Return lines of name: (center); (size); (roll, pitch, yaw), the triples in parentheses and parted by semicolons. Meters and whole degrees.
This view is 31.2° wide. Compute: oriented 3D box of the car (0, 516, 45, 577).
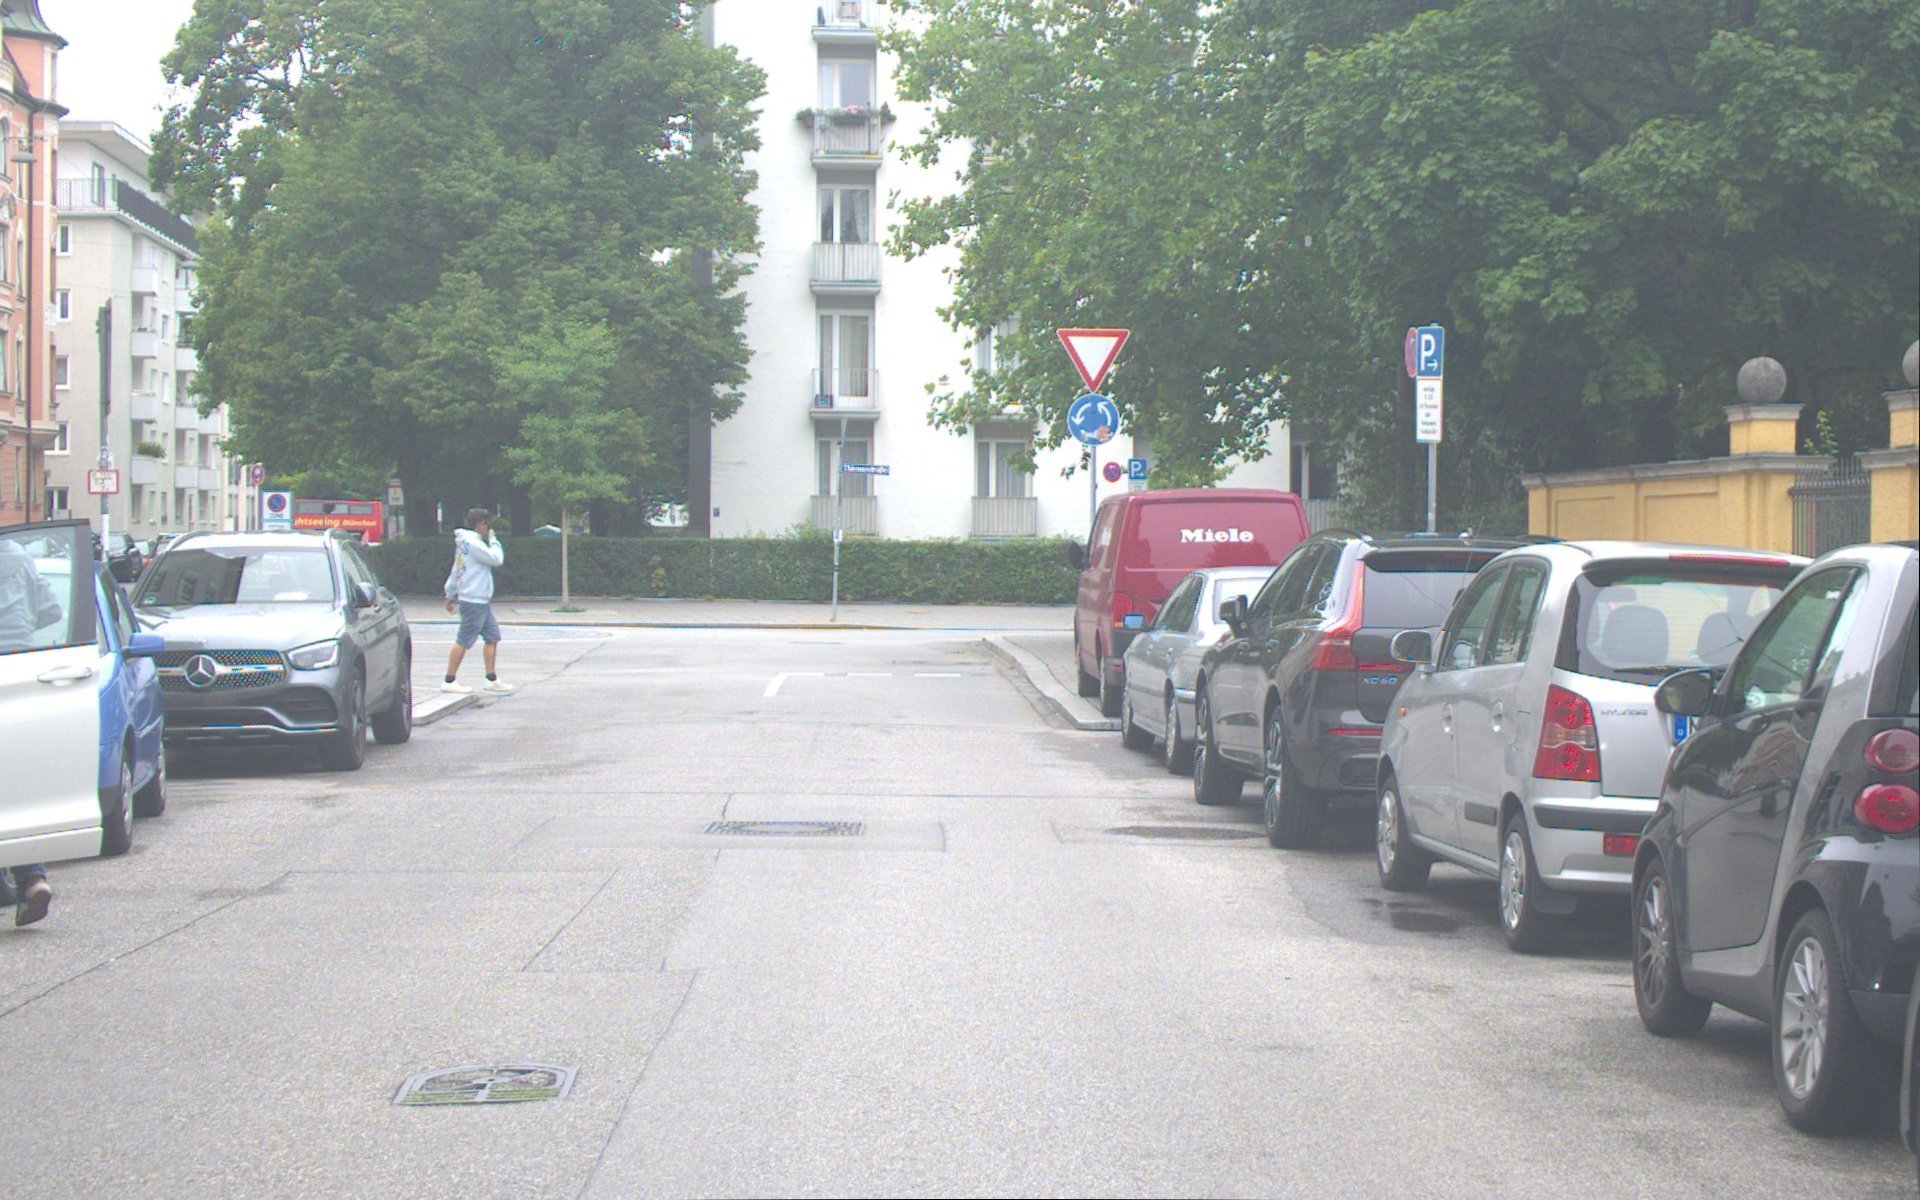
car: (-26.105, -1.465, 92.555); (1.975, 1.575, 4.409); (1, 1, -3)

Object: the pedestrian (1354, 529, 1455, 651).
pedestrian: (4.913, -0.118, 38.053); (1.009, 1.333, 0.876); (1, 1, 2)

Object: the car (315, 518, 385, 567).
car: (-20.969, -2.003, 118.316); (1.835, 1.629, 3.820); (-1, 1, -2)

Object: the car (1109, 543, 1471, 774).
car: (2.311, 0.356, 25.232); (1.884, 1.443, 4.370); (2, 1, -4)

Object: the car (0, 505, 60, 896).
car: (-4.752, 0.445, 12.844); (1.746, 1.596, 4.497); (-1, 1, -2)

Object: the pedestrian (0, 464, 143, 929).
pedestrian: (-3.784, 0.353, 13.337); (0.961, 1.749, 0.877); (0, 1, -31)

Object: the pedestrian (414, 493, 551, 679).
pedestrian: (-4.609, -0.143, 33.166); (1.048, 1.765, 0.877); (0, 1, -30)

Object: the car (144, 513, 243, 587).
car: (-16.122, -1.075, 72.463); (1.818, 1.500, 4.424); (-1, 1, -10)

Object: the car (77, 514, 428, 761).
car: (-4.981, 0.199, 24.767); (1.746, 1.596, 4.497); (-1, 1, -2)

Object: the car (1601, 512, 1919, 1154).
car: (2.891, 0.571, 9.828); (1.508, 1.560, 2.869); (3, 1, 0)

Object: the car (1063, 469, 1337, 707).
car: (2.064, -0.156, 30.953); (1.873, 1.914, 4.888); (2, 1, -2)

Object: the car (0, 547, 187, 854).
car: (-4.996, 0.447, 17.753); (1.691, 1.410, 3.664); (-1, 1, -9)

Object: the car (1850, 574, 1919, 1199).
car: (2.927, 0.725, 5.623); (1.691, 1.410, 4.037); (2, 1, -2)

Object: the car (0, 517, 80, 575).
car: (-26.430, -1.540, 97.547); (1.975, 1.575, 4.409); (1, 1, -3)

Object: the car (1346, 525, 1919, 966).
car: (2.703, 0.490, 14.256); (1.484, 1.534, 3.693); (2, 1, -4)

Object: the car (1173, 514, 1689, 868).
car: (2.444, 0.391, 19.134); (1.884, 1.647, 4.825); (2, 1, -3)
